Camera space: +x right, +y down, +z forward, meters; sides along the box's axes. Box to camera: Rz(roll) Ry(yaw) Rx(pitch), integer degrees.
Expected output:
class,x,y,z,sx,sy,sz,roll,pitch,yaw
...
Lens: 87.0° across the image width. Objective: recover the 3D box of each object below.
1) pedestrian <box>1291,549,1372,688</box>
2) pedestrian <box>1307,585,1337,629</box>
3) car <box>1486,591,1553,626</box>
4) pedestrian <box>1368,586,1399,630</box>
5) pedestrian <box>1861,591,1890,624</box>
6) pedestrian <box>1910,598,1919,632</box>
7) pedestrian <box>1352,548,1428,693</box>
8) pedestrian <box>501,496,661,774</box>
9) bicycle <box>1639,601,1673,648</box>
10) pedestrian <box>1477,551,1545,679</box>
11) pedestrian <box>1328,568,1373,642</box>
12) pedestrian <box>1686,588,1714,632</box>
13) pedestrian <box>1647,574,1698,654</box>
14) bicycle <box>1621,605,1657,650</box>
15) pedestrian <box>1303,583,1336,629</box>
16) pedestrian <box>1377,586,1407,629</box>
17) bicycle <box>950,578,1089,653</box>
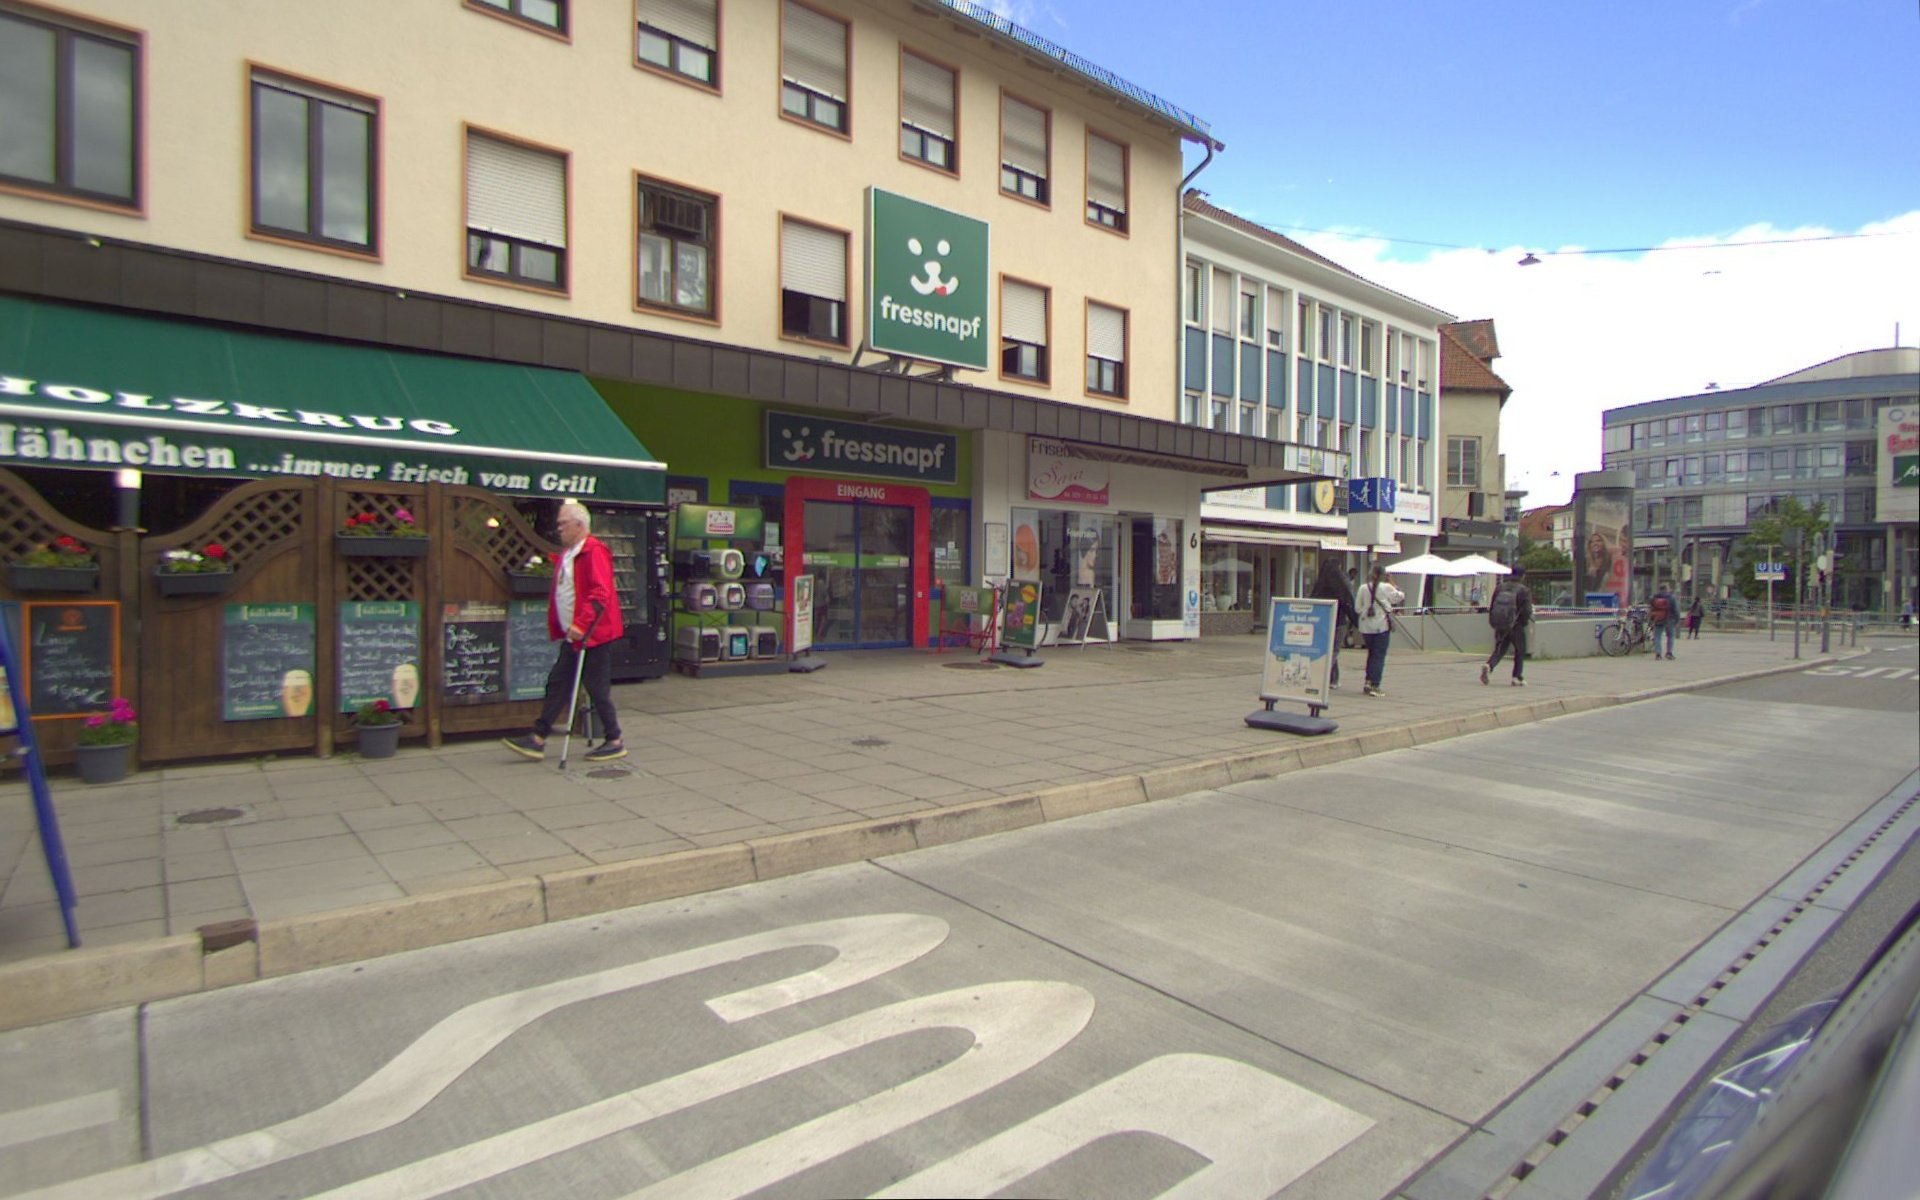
class,x,y,z,sx,sy,sz,roll,pitch,yaw
pedestrian,4.579,0.202,12.476,0.604,1.655,0.719,-1,2,-43
pedestrian,10.189,0.196,28.497,0.578,1.235,0.614,1,-1,-42
car,31.723,0.441,57.508,1.850,1.919,4.912,0,0,11
pedestrian,12.265,0.222,29.316,0.578,1.235,0.614,1,1,-42
pedestrian,46.543,0.391,51.452,0.834,1.656,0.641,-2,-2,17
pedestrian,47.034,0.728,49.291,0.795,1.668,0.884,1,0,15
pedestrian,5.083,0.224,11.965,0.604,1.655,0.613,-1,2,-43
pedestrian,-2.607,0.194,6.971,0.795,1.763,0.770,3,4,44
bicycle,16.188,0.565,23.515,1.362,1.066,0.274,1,0,-39
pedestrian,7.564,0.192,13.898,0.604,1.699,0.613,1,1,-38
pedestrian,8.828,0.105,22.894,0.787,1.655,0.667,1,0,-43
pedestrian,27.893,0.380,38.158,0.580,1.643,0.740,-2,-2,18
pedestrian,15.129,0.279,21.491,0.838,1.655,0.689,1,0,-41
bicycle,15.107,0.604,22.521,1.362,0.986,0.274,1,0,-39
pedestrian,9.875,0.176,27.792,0.578,1.236,0.613,1,-3,-42
pedestrian,12.701,0.221,29.759,0.578,1.236,0.613,1,-3,-42
bicycle,0.956,0.219,15.675,2.311,1.076,0.742,0,2,-42
